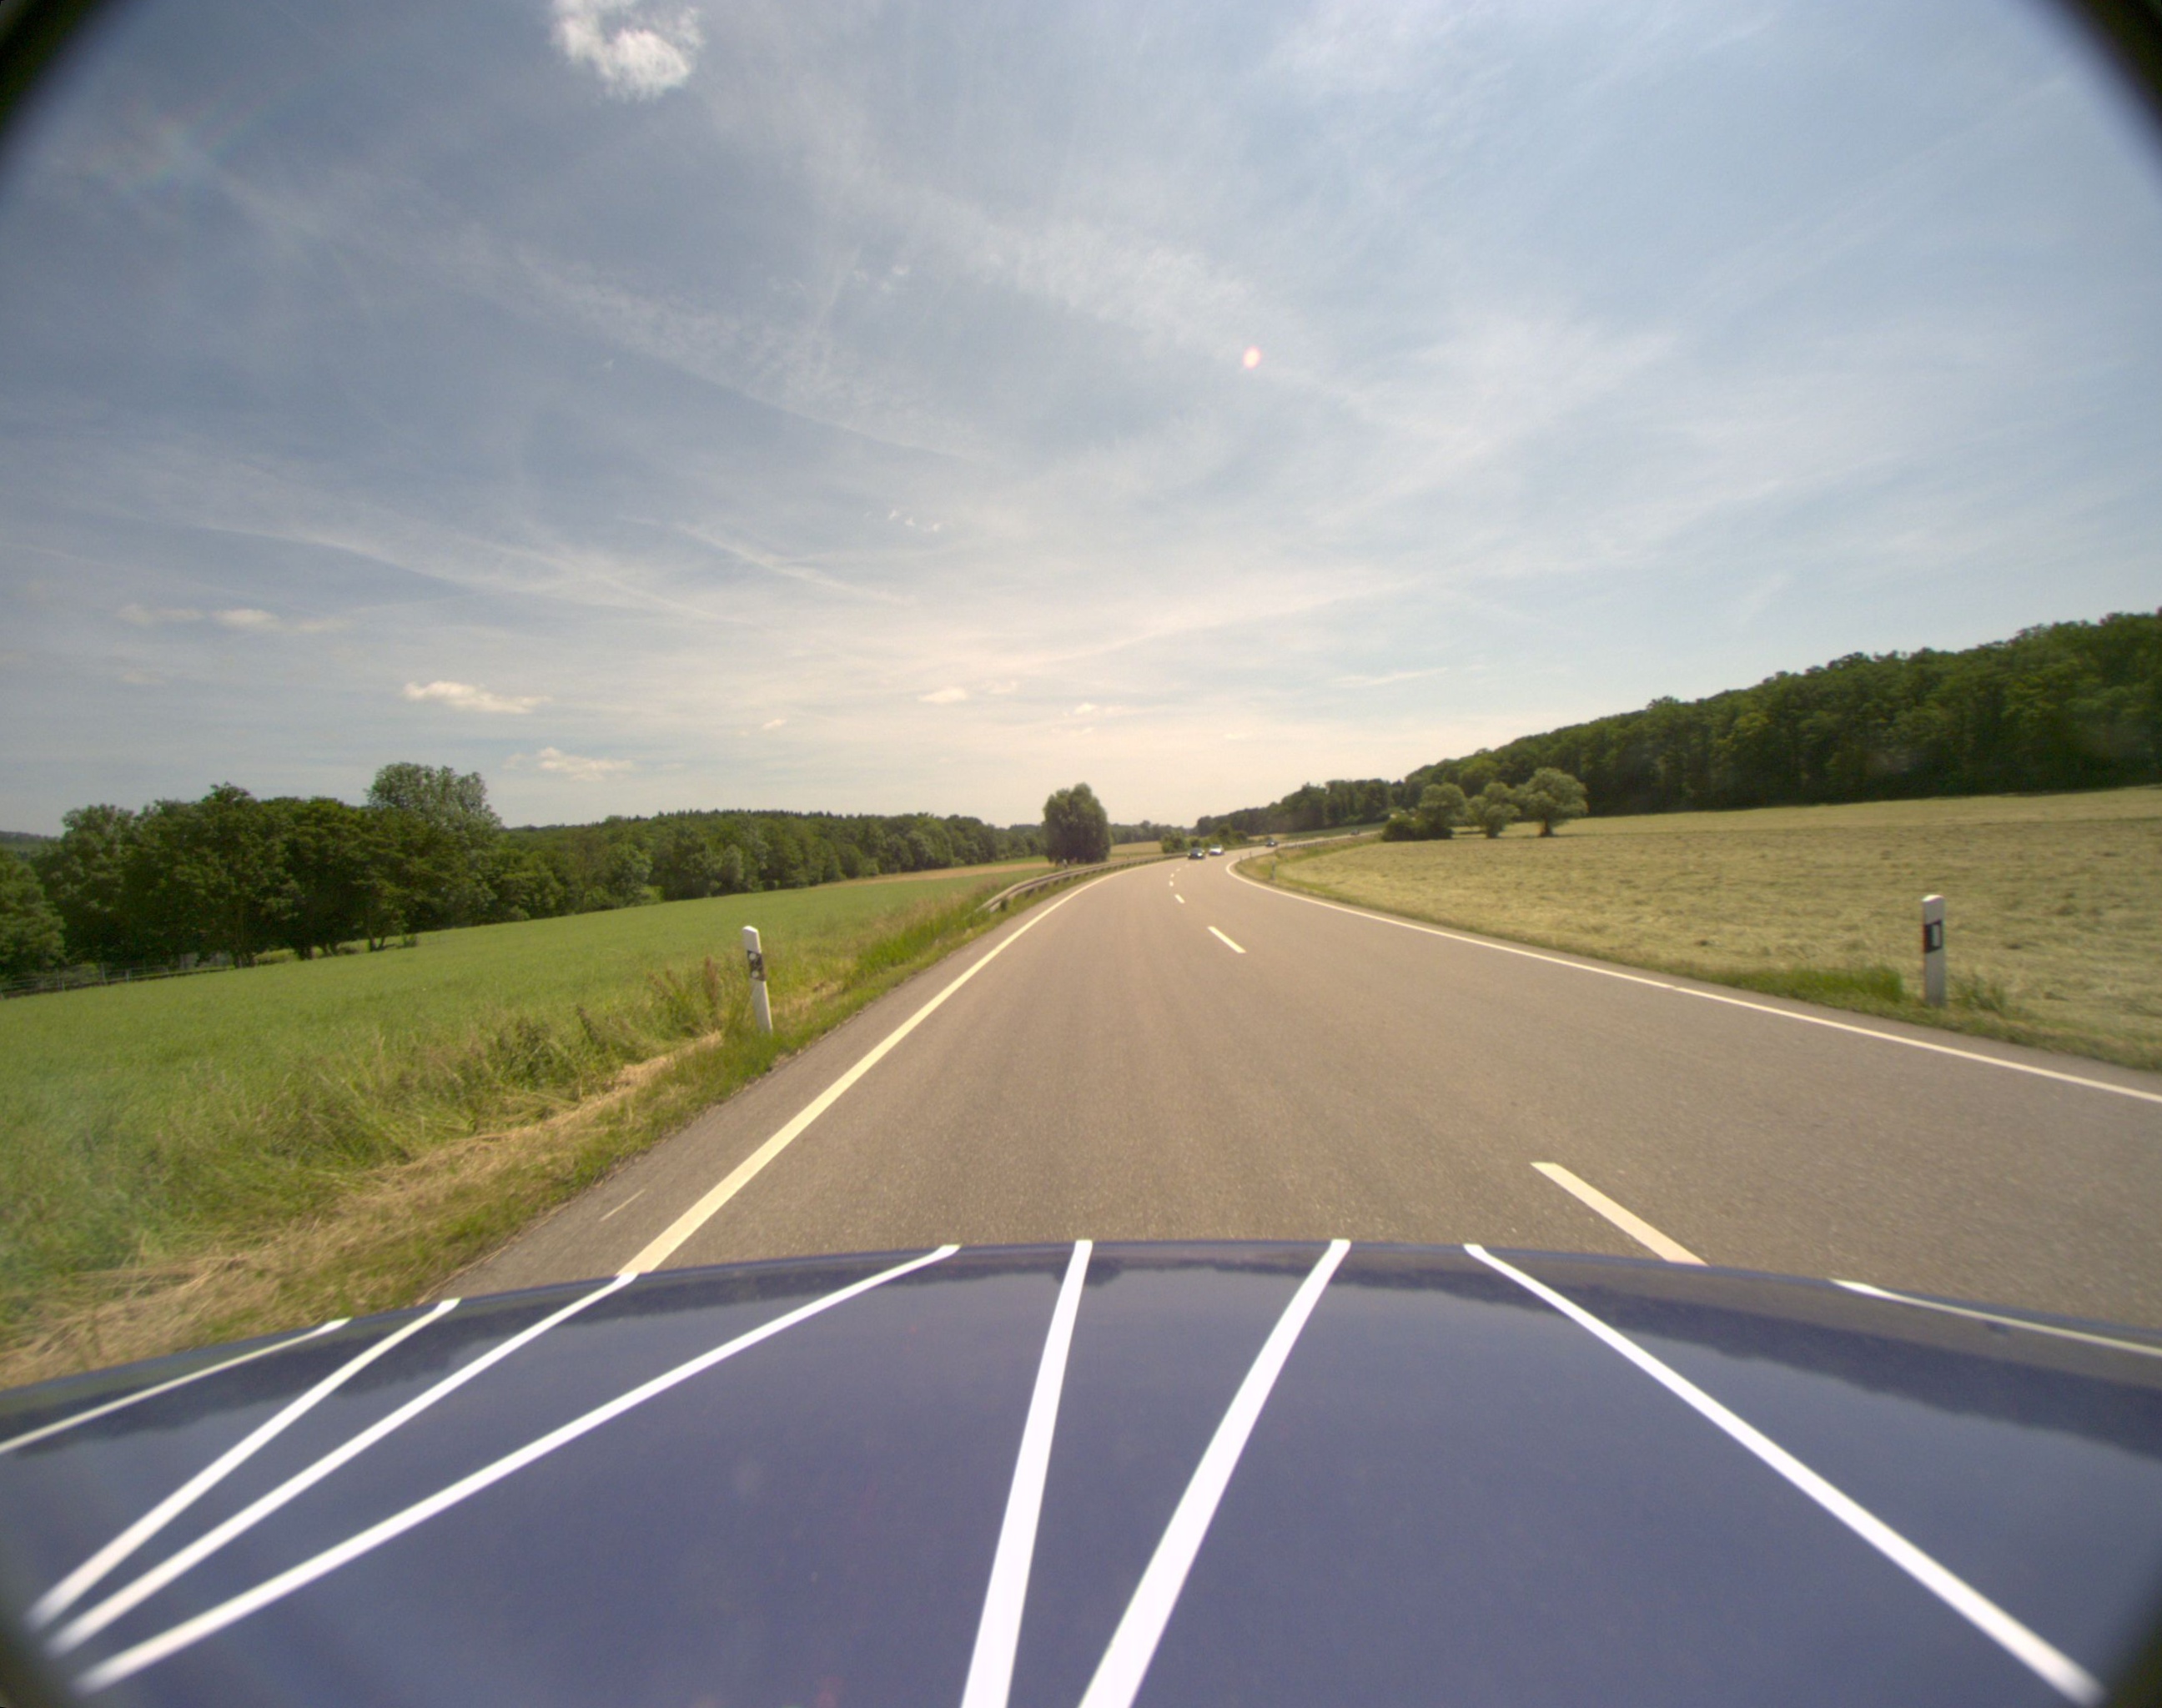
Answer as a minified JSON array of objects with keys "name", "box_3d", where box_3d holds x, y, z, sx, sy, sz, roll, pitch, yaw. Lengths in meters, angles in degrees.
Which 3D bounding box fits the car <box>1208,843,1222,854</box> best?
[{"name":"car","box_3d":[19.842,-0.865,112.515,1.620,1.428,3.446,-2,2,16]}]

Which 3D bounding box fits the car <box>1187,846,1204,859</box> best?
[{"name":"car","box_3d":[14.453,-0.226,95.690,1.620,1.428,3.446,-2,1,16]}]

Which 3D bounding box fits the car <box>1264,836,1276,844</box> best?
[{"name":"car","box_3d":[38.685,-2.906,155.450,1.619,1.429,3.447,-2,2,24]}]
